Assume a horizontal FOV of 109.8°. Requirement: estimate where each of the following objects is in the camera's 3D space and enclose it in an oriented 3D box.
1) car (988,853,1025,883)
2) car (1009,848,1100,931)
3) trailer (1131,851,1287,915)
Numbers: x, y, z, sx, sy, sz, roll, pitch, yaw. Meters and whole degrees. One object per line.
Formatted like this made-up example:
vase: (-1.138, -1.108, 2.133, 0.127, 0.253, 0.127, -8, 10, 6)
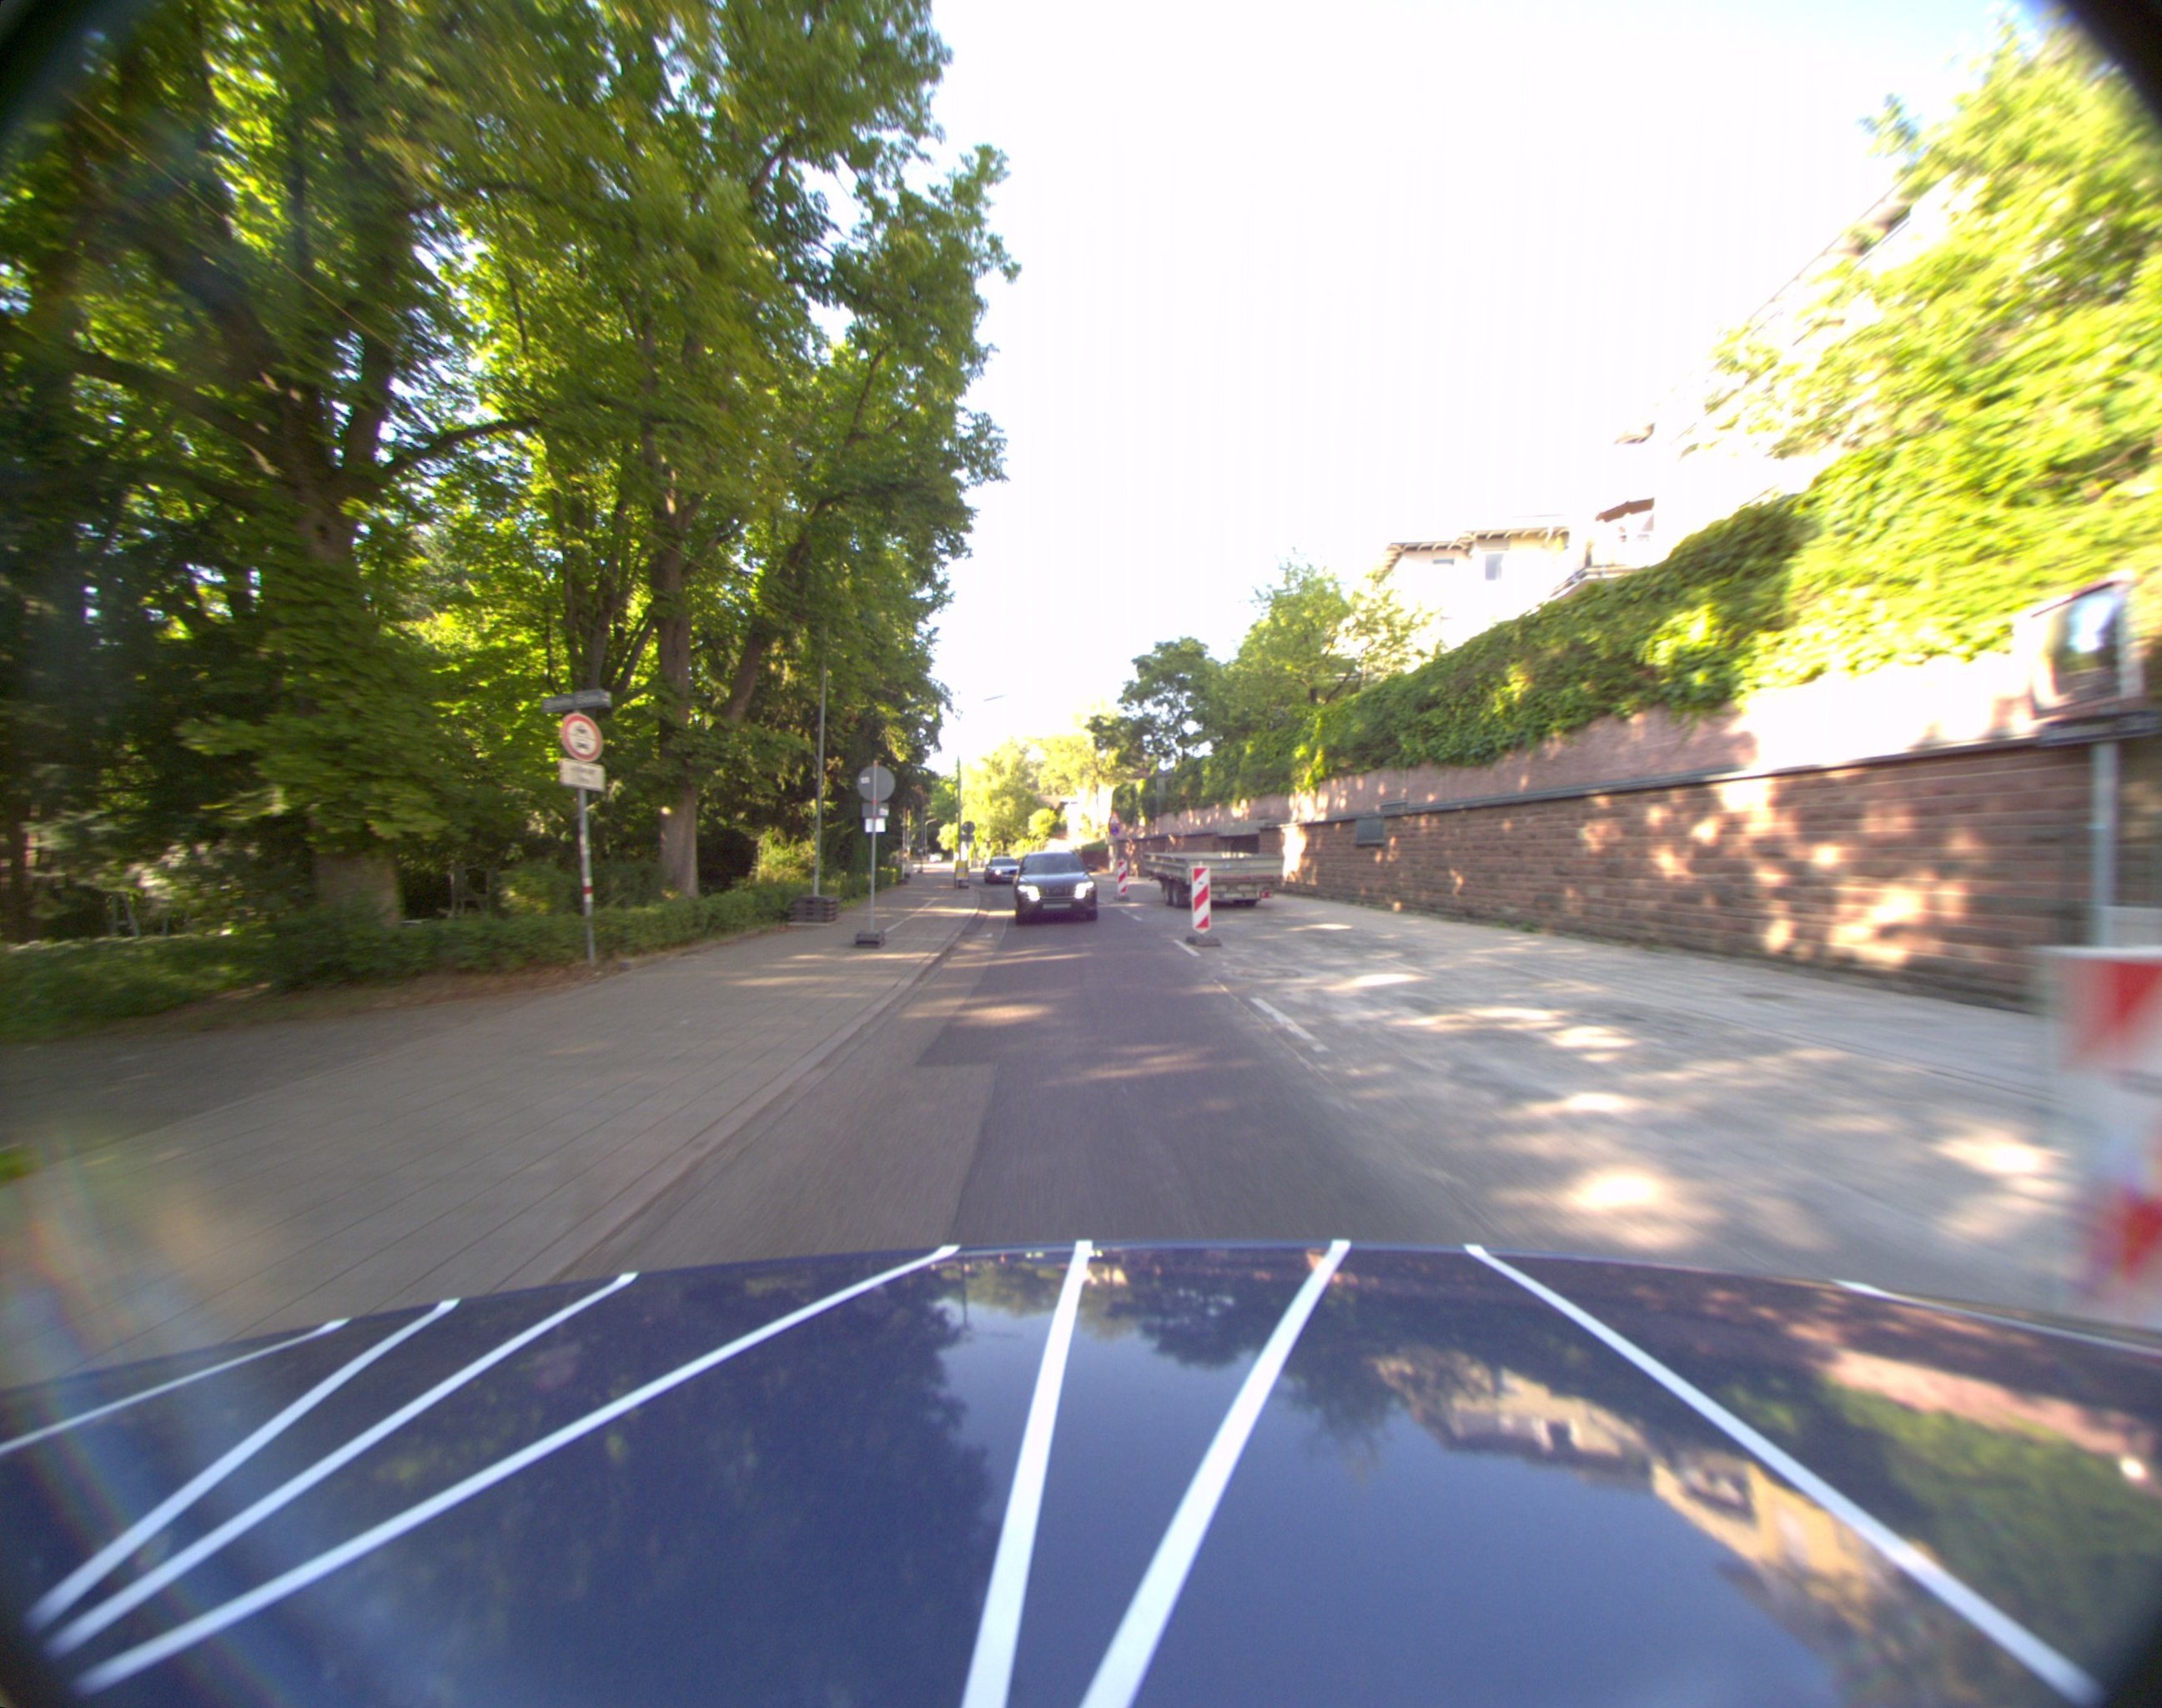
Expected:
car: (-4.095, 0.741, 41.586, 1.664, 1.468, 3.679, -1, 1, -11)
car: (-0.515, 0.755, 18.654, 1.788, 1.639, 4.474, -3, 1, 2)
trailer: (3.457, 0.702, 22.499, 2.648, 1.481, 7.113, -2, 1, -7)
